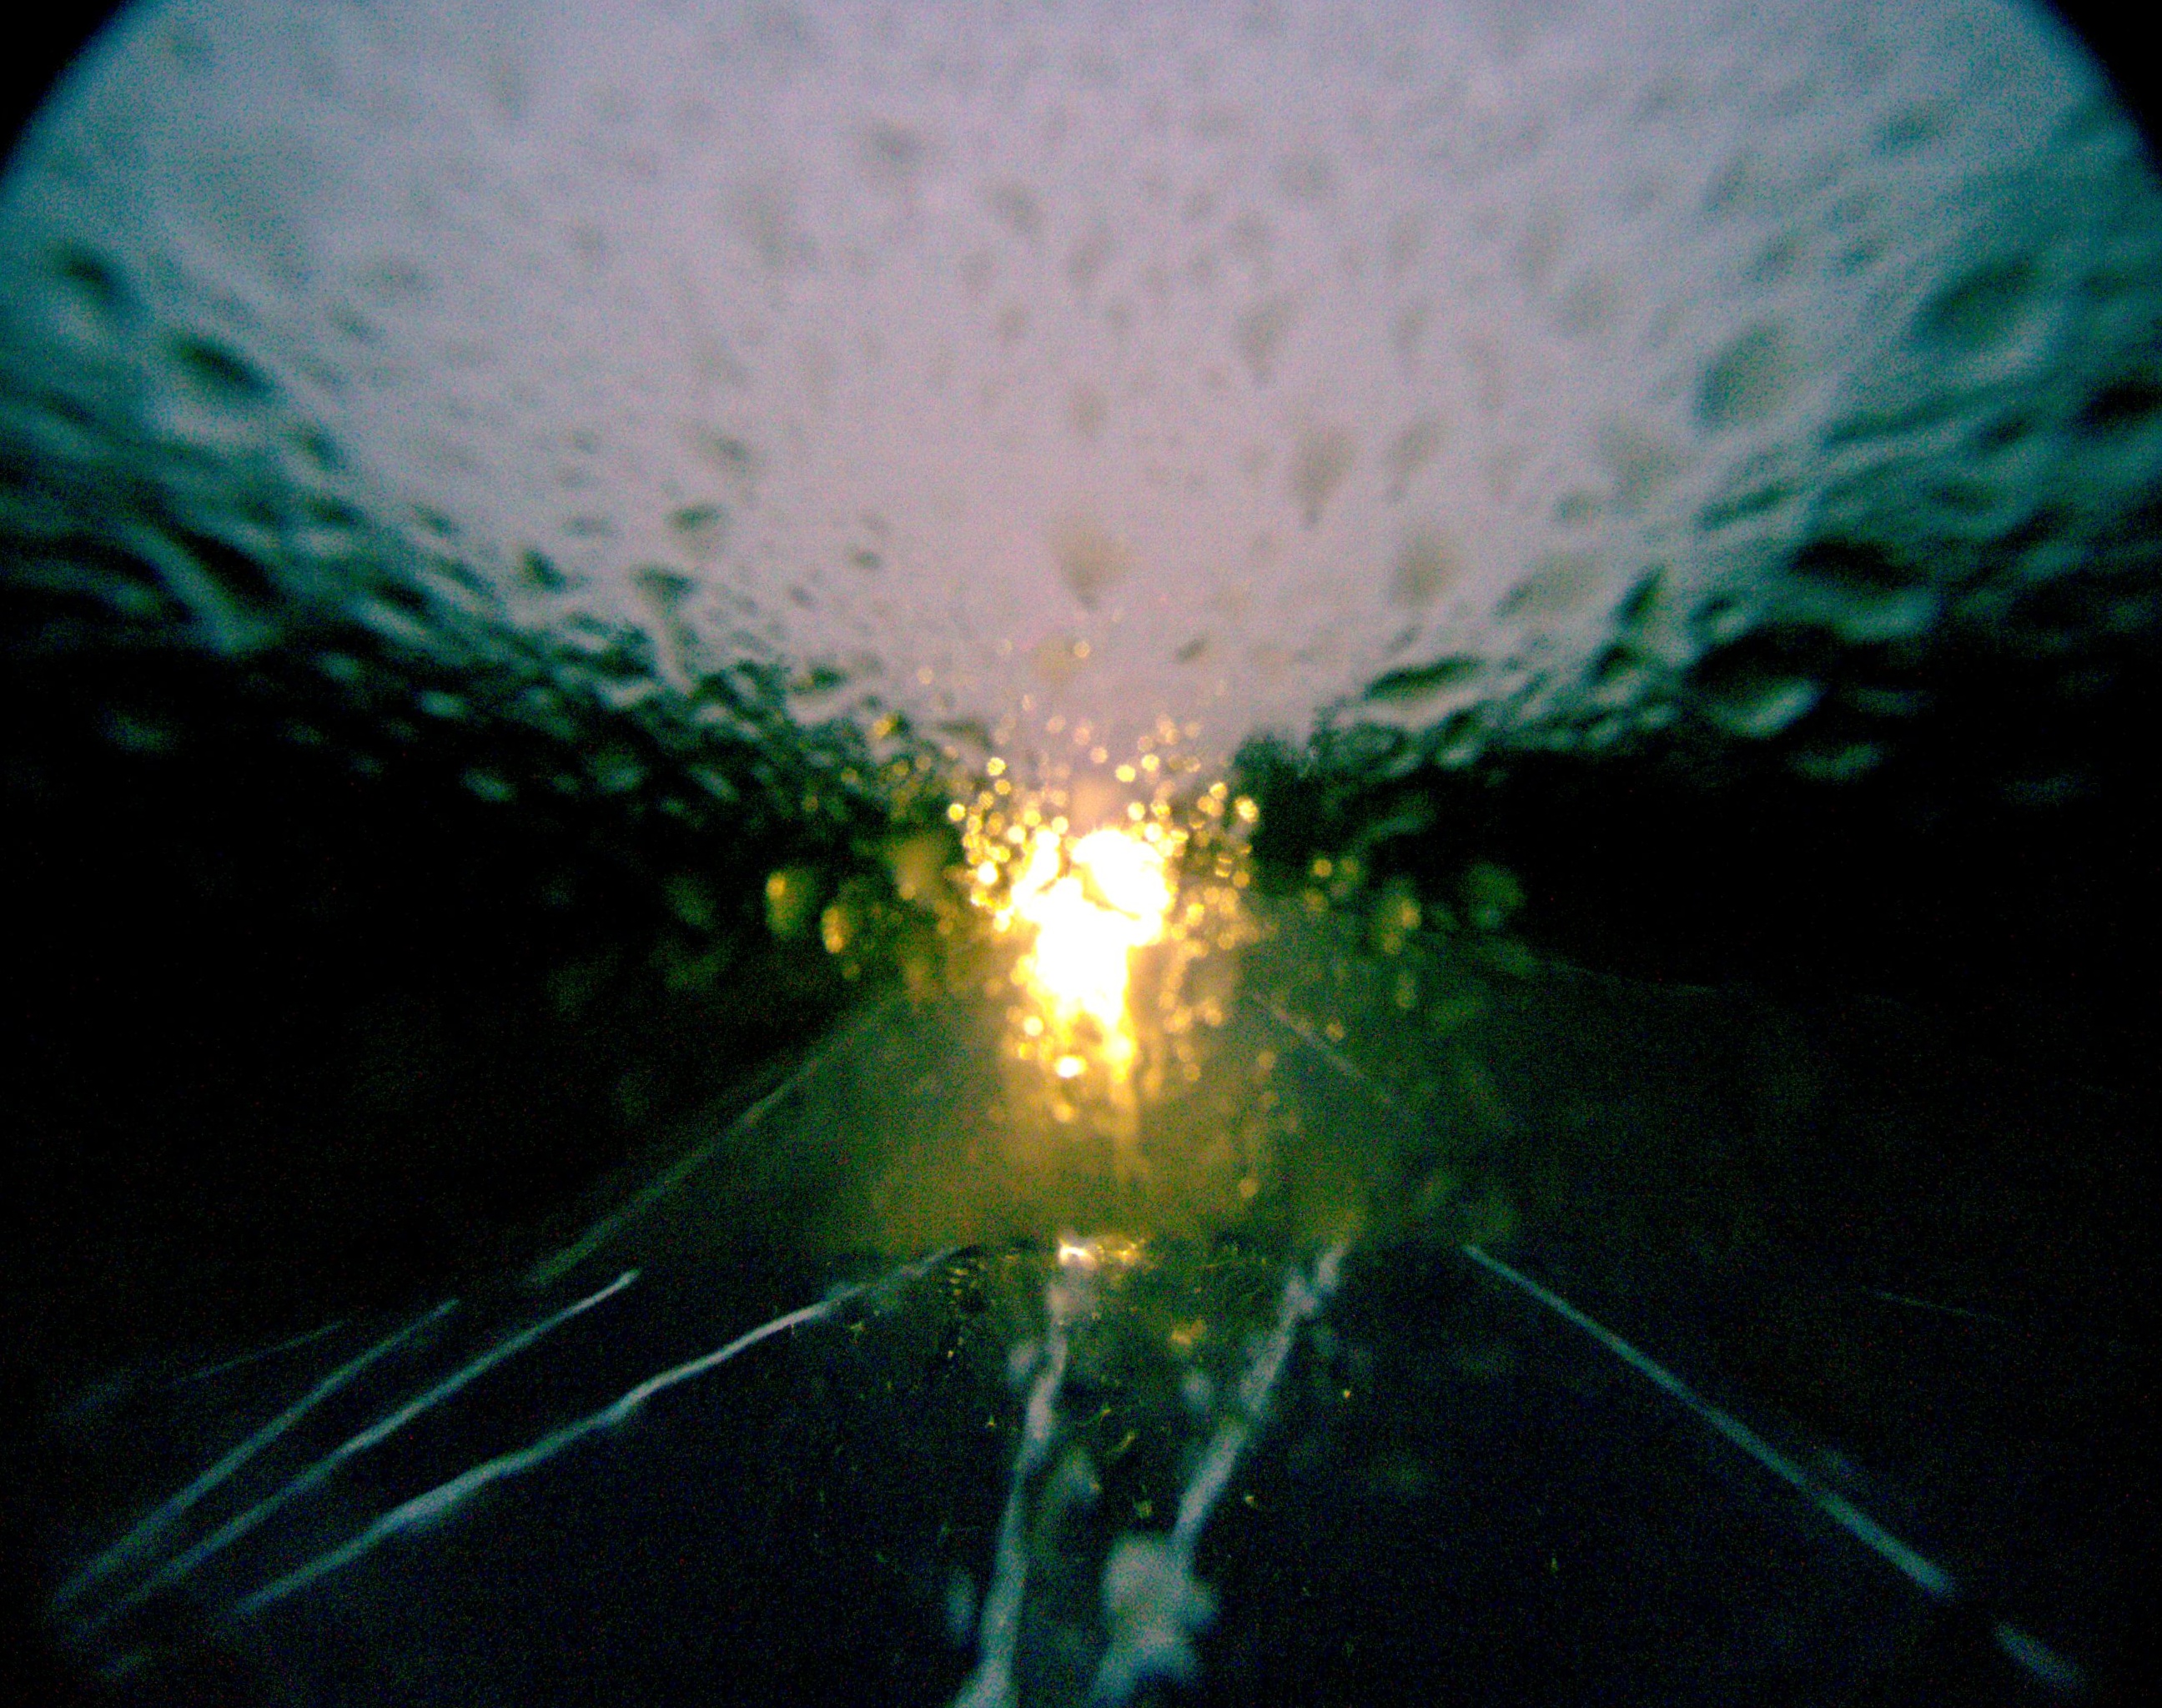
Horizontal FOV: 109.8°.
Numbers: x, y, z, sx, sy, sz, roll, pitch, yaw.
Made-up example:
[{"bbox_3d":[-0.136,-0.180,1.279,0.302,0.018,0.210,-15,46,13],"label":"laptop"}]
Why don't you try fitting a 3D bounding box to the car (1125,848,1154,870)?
[{"bbox_3d":[4.383,0.352,57.564,1.738,1.525,4.959,-2,0,0],"label":"car"}]
